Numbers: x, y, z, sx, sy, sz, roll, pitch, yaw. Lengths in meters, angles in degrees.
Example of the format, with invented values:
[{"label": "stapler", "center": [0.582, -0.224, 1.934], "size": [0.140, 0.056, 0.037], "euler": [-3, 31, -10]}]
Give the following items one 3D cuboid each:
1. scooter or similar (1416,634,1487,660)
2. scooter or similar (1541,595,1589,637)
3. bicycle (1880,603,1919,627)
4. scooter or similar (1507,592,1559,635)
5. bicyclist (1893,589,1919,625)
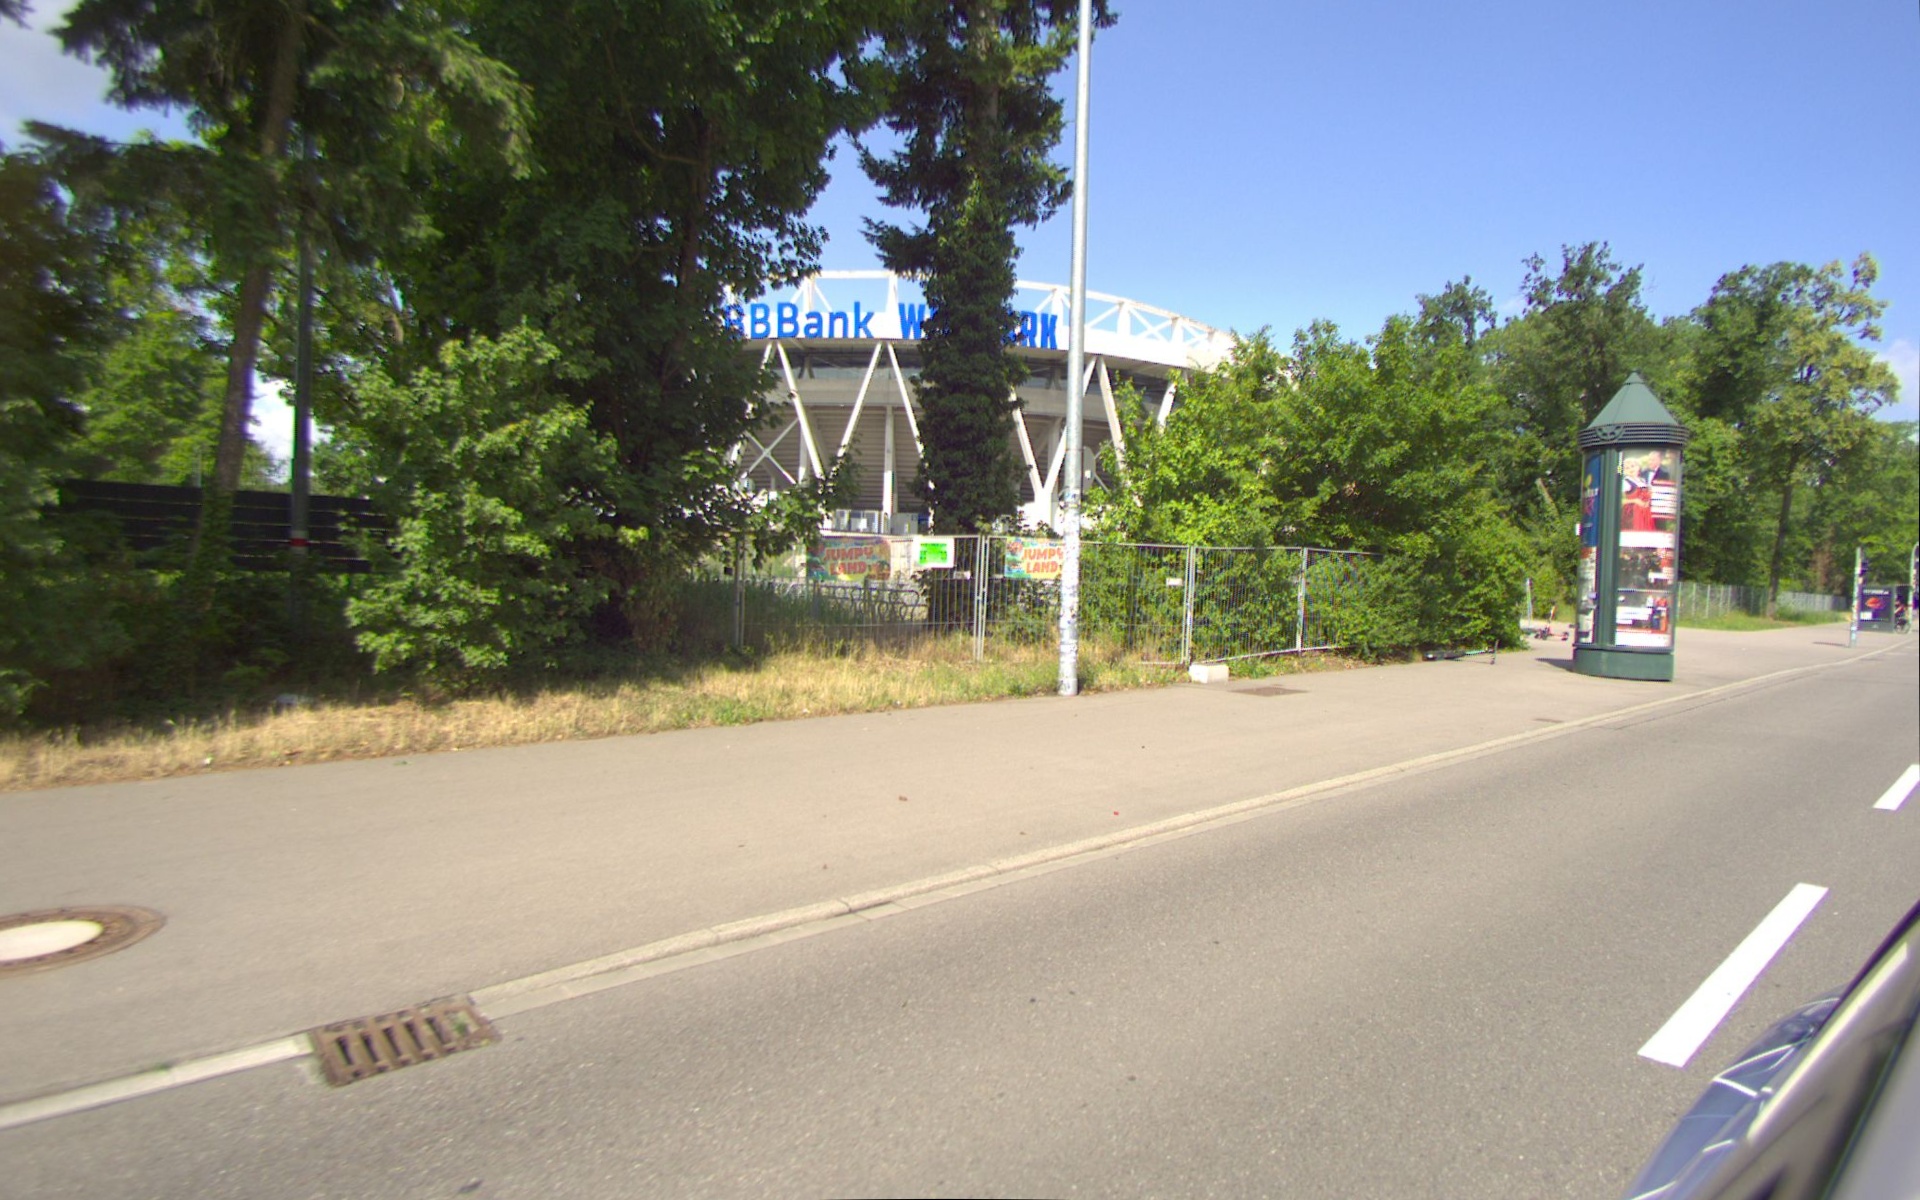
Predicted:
[{"label": "scooter or similar", "center": [10.041, 0.950, 20.660], "size": [1.450, 0.393, 0.854], "euler": [-1, 4, -44]}, {"label": "scooter or similar", "center": [18.307, 0.475, 30.608], "size": [1.284, 1.215, 0.408], "euler": [2, 1, -16]}, {"label": "bicycle", "center": [49.191, 0.785, 52.580], "size": [1.868, 1.221, 0.880], "euler": [1, 0, 12]}, {"label": "scooter or similar", "center": [17.743, 0.402, 31.369], "size": [1.307, 1.267, 0.401], "euler": [3, 2, 42]}, {"label": "bicyclist", "center": [49.338, 0.360, 52.553], "size": [0.964, 1.820, 0.884], "euler": [1, 0, 13]}]
